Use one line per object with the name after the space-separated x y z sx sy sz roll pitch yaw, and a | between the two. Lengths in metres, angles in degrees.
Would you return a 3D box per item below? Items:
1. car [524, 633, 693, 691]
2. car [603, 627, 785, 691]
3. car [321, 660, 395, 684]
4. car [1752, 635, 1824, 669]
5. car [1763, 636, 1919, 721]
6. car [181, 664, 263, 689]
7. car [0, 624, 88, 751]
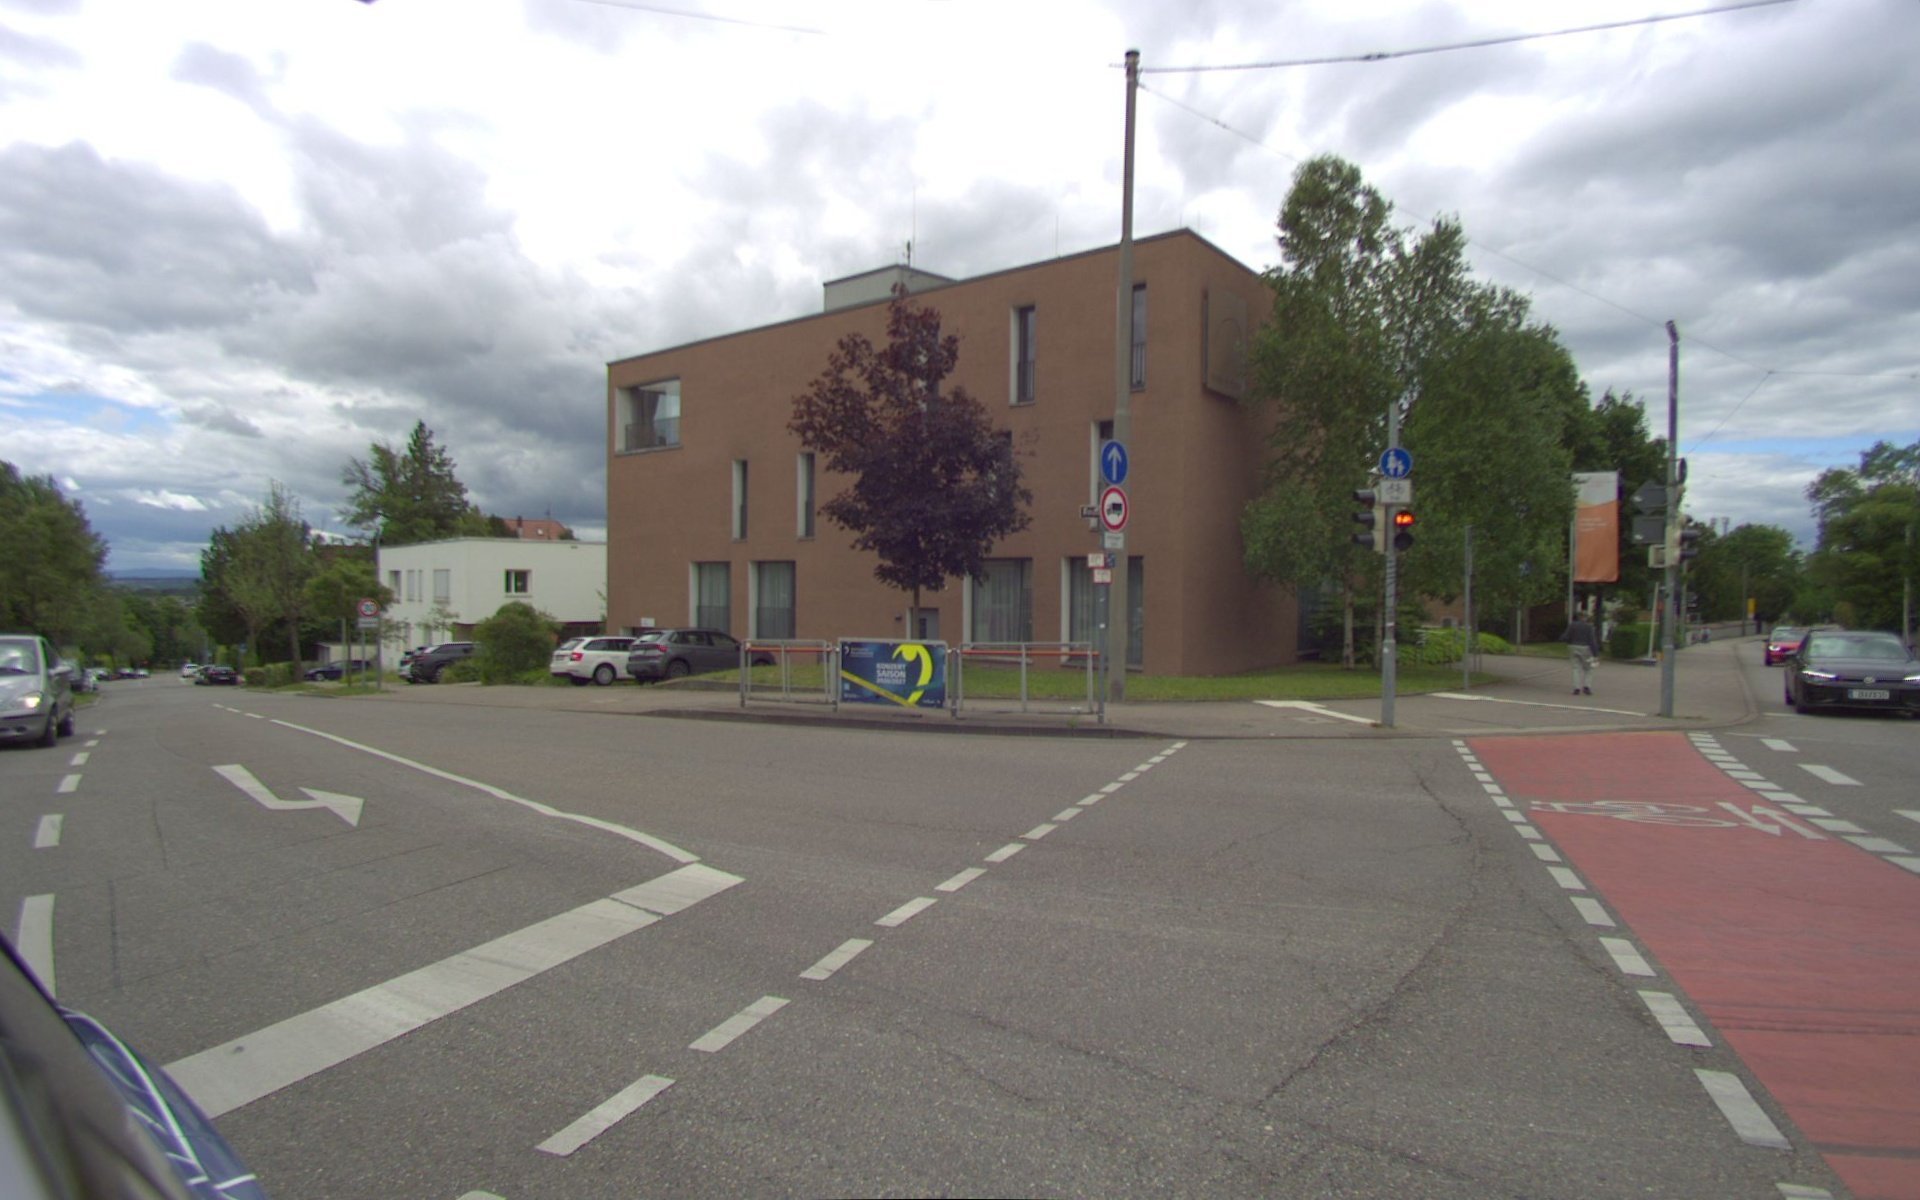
-10.435 1.794 30.256 4.371 1.570 2.001 1 -3 -45 | car
-7.128 1.534 27.362 4.371 1.570 2.001 1 -3 -45 | car
-44.984 5.369 75.655 4.371 1.570 2.001 1 -3 -45 | car
34.779 2.165 42.602 1.995 1.209 3.953 0 0 34 | car
15.840 1.303 17.723 1.990 1.253 3.964 1 -1 27 | car
-51.685 5.315 70.900 4.371 1.570 2.001 1 -3 -45 | car
-13.779 1.269 14.196 1.967 1.608 4.009 -1 -4 -36 | car
